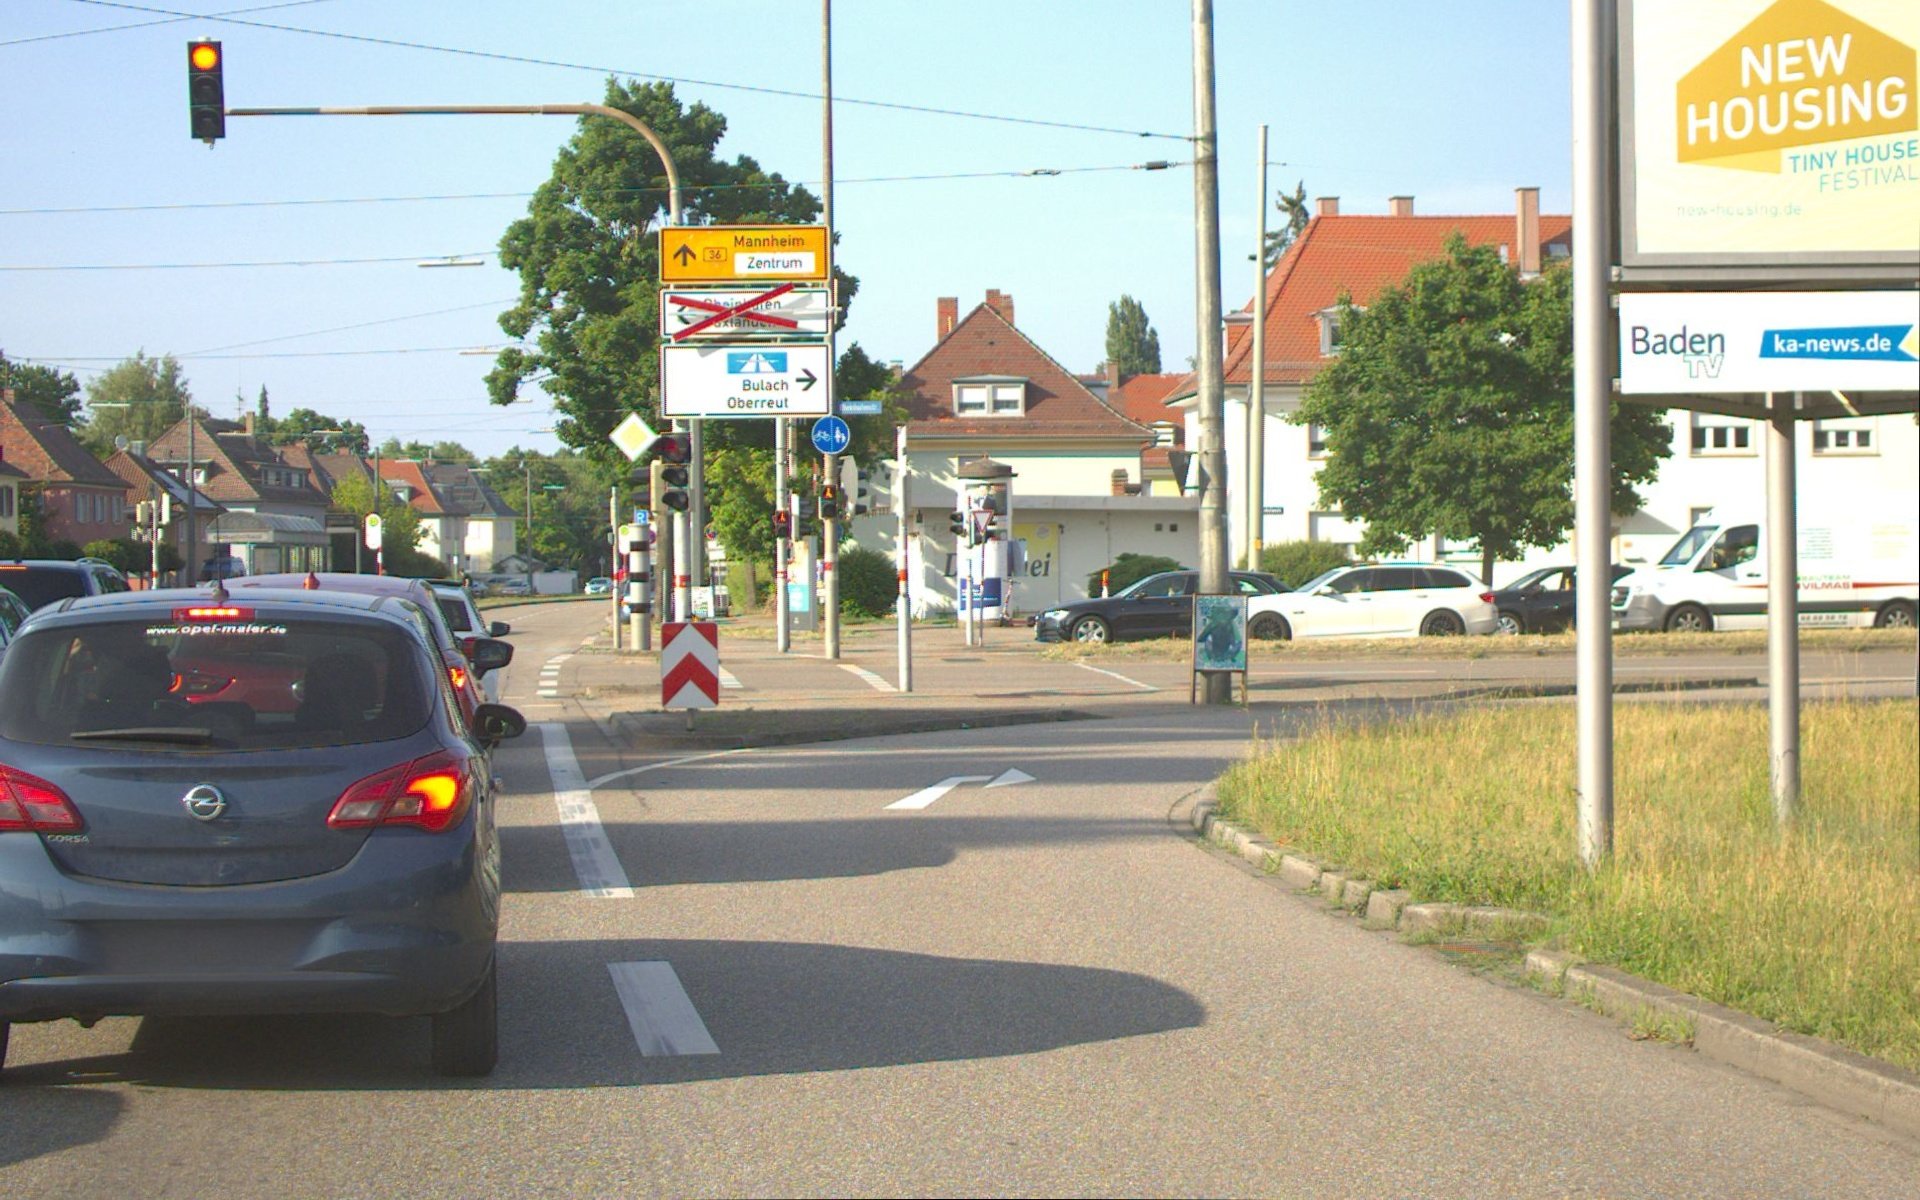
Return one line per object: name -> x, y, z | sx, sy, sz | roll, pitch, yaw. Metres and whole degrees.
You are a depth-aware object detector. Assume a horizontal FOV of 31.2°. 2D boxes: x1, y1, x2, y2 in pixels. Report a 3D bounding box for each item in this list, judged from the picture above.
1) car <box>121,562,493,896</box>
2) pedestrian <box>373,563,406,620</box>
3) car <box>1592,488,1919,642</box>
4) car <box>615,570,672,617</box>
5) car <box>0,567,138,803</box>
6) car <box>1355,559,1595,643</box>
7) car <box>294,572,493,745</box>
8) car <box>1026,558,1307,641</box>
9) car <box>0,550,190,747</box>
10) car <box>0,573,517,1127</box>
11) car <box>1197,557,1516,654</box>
car -> -3.379, 0.586, 18.208 | 1.706, 1.546, 3.979 | -1, 1, -9
pedestrian -> -15.030, -0.227, 90.529 | 0.753, 1.494, 0.827 | 1, -1, -4
car -> 14.191, -0.609, 59.142 | 6.207, 2.575, 2.000 | 0, 0, -6
car -> -9.688, -0.189, 105.100 | 1.674, 1.393, 4.001 | 1, 0, -5
car -> -6.979, 0.519, 24.203 | 1.699, 1.503, 4.554 | 0, 1, -5
car -> 9.311, 0.008, 62.275 | 3.986, 1.448, 1.716 | -1, 0, -5
car -> -5.111, 0.479, 31.252 | 1.656, 1.438, 4.015 | -1, 1, -8
car -> 3.672, -0.015, 61.573 | 4.823, 1.406, 1.716 | -1, 0, -5
car -> -8.059, 0.390, 31.353 | 1.506, 1.645, 4.745 | -1, 1, -7
car -> -2.437, 0.677, 11.697 | 1.741, 1.500, 4.224 | 0, 1, -9
car -> 6.695, 0.084, 58.339 | 5.094, 1.558, 1.840 | -1, 0, -5
